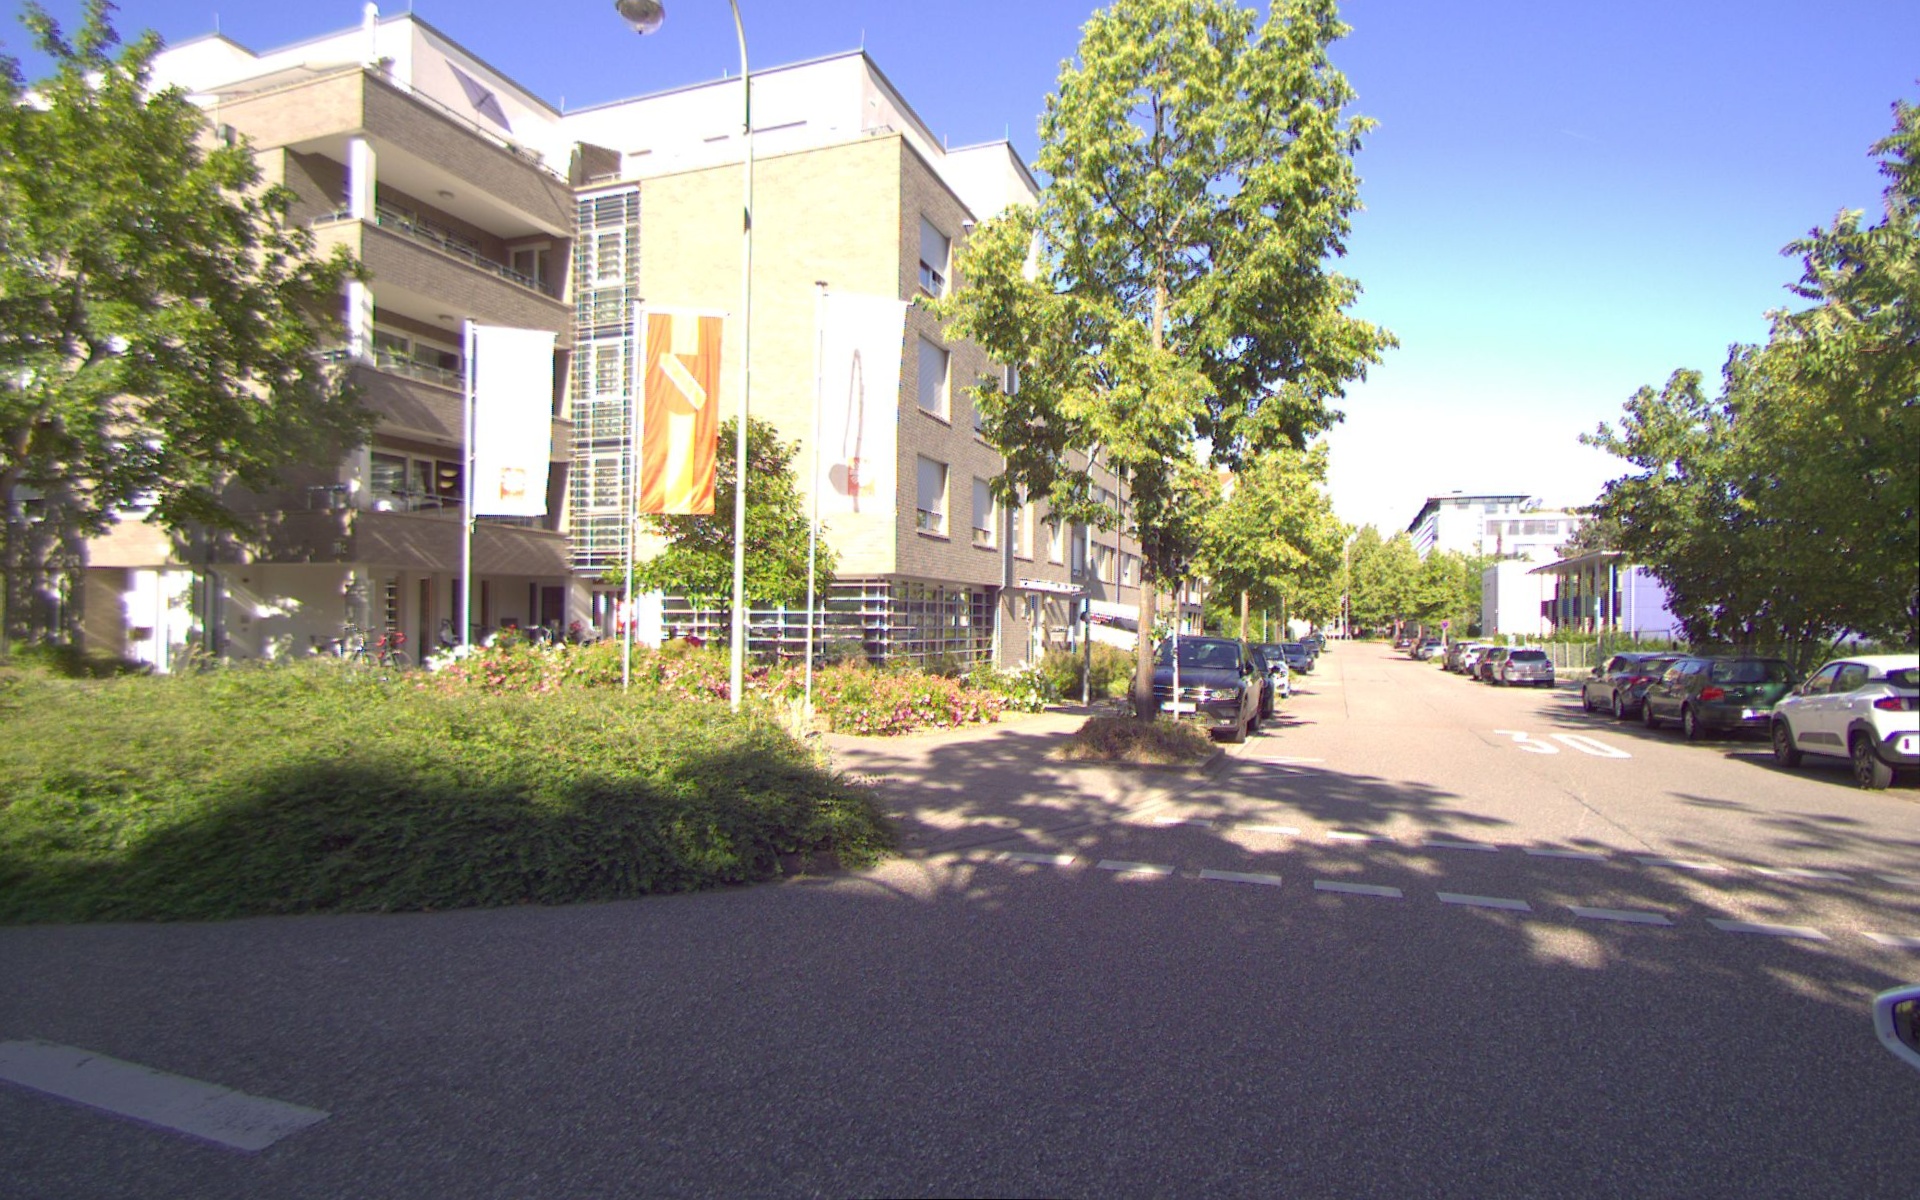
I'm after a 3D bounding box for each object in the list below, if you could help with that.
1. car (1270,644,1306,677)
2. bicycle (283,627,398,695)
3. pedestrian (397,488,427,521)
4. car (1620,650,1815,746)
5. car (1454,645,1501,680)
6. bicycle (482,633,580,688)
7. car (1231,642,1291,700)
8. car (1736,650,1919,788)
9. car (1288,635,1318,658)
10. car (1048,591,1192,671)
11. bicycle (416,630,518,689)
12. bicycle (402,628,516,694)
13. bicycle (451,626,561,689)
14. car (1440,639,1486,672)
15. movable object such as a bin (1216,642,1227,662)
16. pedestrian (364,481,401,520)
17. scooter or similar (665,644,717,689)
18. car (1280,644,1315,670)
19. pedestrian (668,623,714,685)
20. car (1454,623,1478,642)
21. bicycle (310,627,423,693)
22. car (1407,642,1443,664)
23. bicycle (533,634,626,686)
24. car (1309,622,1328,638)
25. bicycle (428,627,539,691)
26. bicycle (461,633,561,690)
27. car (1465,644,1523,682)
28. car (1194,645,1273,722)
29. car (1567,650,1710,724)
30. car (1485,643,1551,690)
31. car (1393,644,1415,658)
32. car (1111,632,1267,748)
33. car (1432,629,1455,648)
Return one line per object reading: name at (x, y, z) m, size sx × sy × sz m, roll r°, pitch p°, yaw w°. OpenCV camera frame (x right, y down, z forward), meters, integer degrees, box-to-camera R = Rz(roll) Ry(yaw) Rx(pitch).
car at (16.090, 2.905, 49.169) m, size 1.584 × 1.484 × 3.875 m, roll 0°, pitch -2°, yaw 20°
bicycle at (-10.445, 1.007, 16.926) m, size 2.150 × 1.061 × 0.438 m, roll 0°, pitch 0°, yaw 21°
pedestrian at (-12.534, -2.186, 22.980) m, size 0.419 × 0.695 × 0.417 m, roll 0°, pitch 0°, yaw 12°
car at (13.655, 1.681, 18.392) m, size 1.795 × 1.491 × 4.068 m, roll 0°, pitch -2°, yaw 21°
car at (25.841, 3.089, 50.244) m, size 1.652 × 1.562 × 3.848 m, roll 0°, pitch 0°, yaw 21°
bicycle at (-8.815, 1.229, 20.611) m, size 2.150 × 1.061 × 0.438 m, roll 0°, pitch 0°, yaw 21°
car at (9.110, 2.087, 30.342) m, size 1.631 × 1.553 × 4.289 m, roll 0°, pitch -2°, yaw 17°
car at (11.355, 1.398, 12.539) m, size 1.593 × 1.469 × 4.090 m, roll 0°, pitch -3°, yaw 22°
car at (26.117, 3.522, 76.370) m, size 1.734 × 1.547 × 3.998 m, roll 3°, pitch -1°, yaw 24°
car at (6.600, 1.258, 41.436) m, size 5.357 × 2.413 × 1.922 m, roll 9°, pitch 1°, yaw 18°
bicycle at (-9.551, 1.138, 19.437) m, size 2.150 × 1.061 × 0.438 m, roll 0°, pitch 0°, yaw 21°
bicycle at (-8.683, 1.039, 17.388) m, size 2.150 × 1.061 × 0.438 m, roll 0°, pitch 0°, yaw 21°
bicycle at (-8.295, 1.030, 18.328) m, size 2.150 × 1.061 × 0.438 m, roll 0°, pitch 0°, yaw 21°
car at (27.502, 3.008, 55.046) m, size 1.697 × 1.674 × 4.326 m, roll -2°, pitch -2°, yaw 20°
movable object such as a bin at (15.035, 2.999, 57.759) m, size 0.597 × 1.105 × 0.636 m, roll 0°, pitch 0°, yaw 20°
pedestrian at (-13.105, -2.258, 22.794) m, size 0.356 × 0.809 × 0.684 m, roll 0°, pitch 0°, yaw 14°
scooter or similar at (-6.132, 1.513, 22.919) m, size 0.851 × 0.967 × 0.806 m, roll 0°, pitch 0°, yaw 21°
car at (18.234, 3.050, 54.201) m, size 1.573 × 1.233 × 3.874 m, roll 2°, pitch -1°, yaw 22°
pedestrian at (-6.134, 1.224, 22.912) m, size 0.730 × 1.379 × 0.670 m, roll 0°, pitch -2°, yaw 22°
car at (55.536, 3.596, 110.234) m, size 1.961 × 2.040 × 4.000 m, roll 0°, pitch -2°, yaw 21°
bicycle at (-10.279, 1.014, 17.381) m, size 2.150 × 1.061 × 0.438 m, roll 0°, pitch 0°, yaw 21°
car at (33.553, 3.801, 72.540) m, size 1.799 × 1.441 × 4.235 m, roll -2°, pitch -3°, yaw 17°
bicycle at (-8.352, 1.300, 22.023) m, size 2.150 × 1.061 × 0.438 m, roll 0°, pitch 0°, yaw 21°
car at (36.769, 3.083, 102.877) m, size 1.748 × 1.550 × 4.000 m, roll 0°, pitch -2°, yaw 21°
bicycle at (-8.488, 1.034, 17.871) m, size 2.150 × 1.061 × 0.438 m, roll 0°, pitch 0°, yaw 21°
bicycle at (-9.008, 1.212, 20.109) m, size 2.150 × 1.061 × 0.438 m, roll 0°, pitch 0°, yaw 21°
car at (22.885, 2.670, 43.143) m, size 1.660 × 1.514 × 4.079 m, roll 0°, pitch -2°, yaw 20°
car at (6.188, 1.796, 22.491) m, size 1.552 × 1.523 × 3.792 m, roll 0°, pitch -2°, yaw 18°
car at (15.371, 1.905, 23.009) m, size 1.648 × 1.456 × 4.440 m, roll 0°, pitch -2°, yaw 19°
car at (21.274, 2.489, 38.414) m, size 1.635 × 1.533 × 3.999 m, roll 0°, pitch 0°, yaw 21°
car at (47.030, 5.385, 106.471) m, size 1.961 × 1.505 × 4.000 m, roll 0°, pitch -2°, yaw 21°
car at (3.974, 1.420, 16.852) m, size 1.856 × 1.640 × 4.338 m, roll 0°, pitch -3°, yaw 22°
car at (53.378, 4.237, 111.010) m, size 1.991 × 2.040 × 4.000 m, roll 0°, pitch -2°, yaw 21°
